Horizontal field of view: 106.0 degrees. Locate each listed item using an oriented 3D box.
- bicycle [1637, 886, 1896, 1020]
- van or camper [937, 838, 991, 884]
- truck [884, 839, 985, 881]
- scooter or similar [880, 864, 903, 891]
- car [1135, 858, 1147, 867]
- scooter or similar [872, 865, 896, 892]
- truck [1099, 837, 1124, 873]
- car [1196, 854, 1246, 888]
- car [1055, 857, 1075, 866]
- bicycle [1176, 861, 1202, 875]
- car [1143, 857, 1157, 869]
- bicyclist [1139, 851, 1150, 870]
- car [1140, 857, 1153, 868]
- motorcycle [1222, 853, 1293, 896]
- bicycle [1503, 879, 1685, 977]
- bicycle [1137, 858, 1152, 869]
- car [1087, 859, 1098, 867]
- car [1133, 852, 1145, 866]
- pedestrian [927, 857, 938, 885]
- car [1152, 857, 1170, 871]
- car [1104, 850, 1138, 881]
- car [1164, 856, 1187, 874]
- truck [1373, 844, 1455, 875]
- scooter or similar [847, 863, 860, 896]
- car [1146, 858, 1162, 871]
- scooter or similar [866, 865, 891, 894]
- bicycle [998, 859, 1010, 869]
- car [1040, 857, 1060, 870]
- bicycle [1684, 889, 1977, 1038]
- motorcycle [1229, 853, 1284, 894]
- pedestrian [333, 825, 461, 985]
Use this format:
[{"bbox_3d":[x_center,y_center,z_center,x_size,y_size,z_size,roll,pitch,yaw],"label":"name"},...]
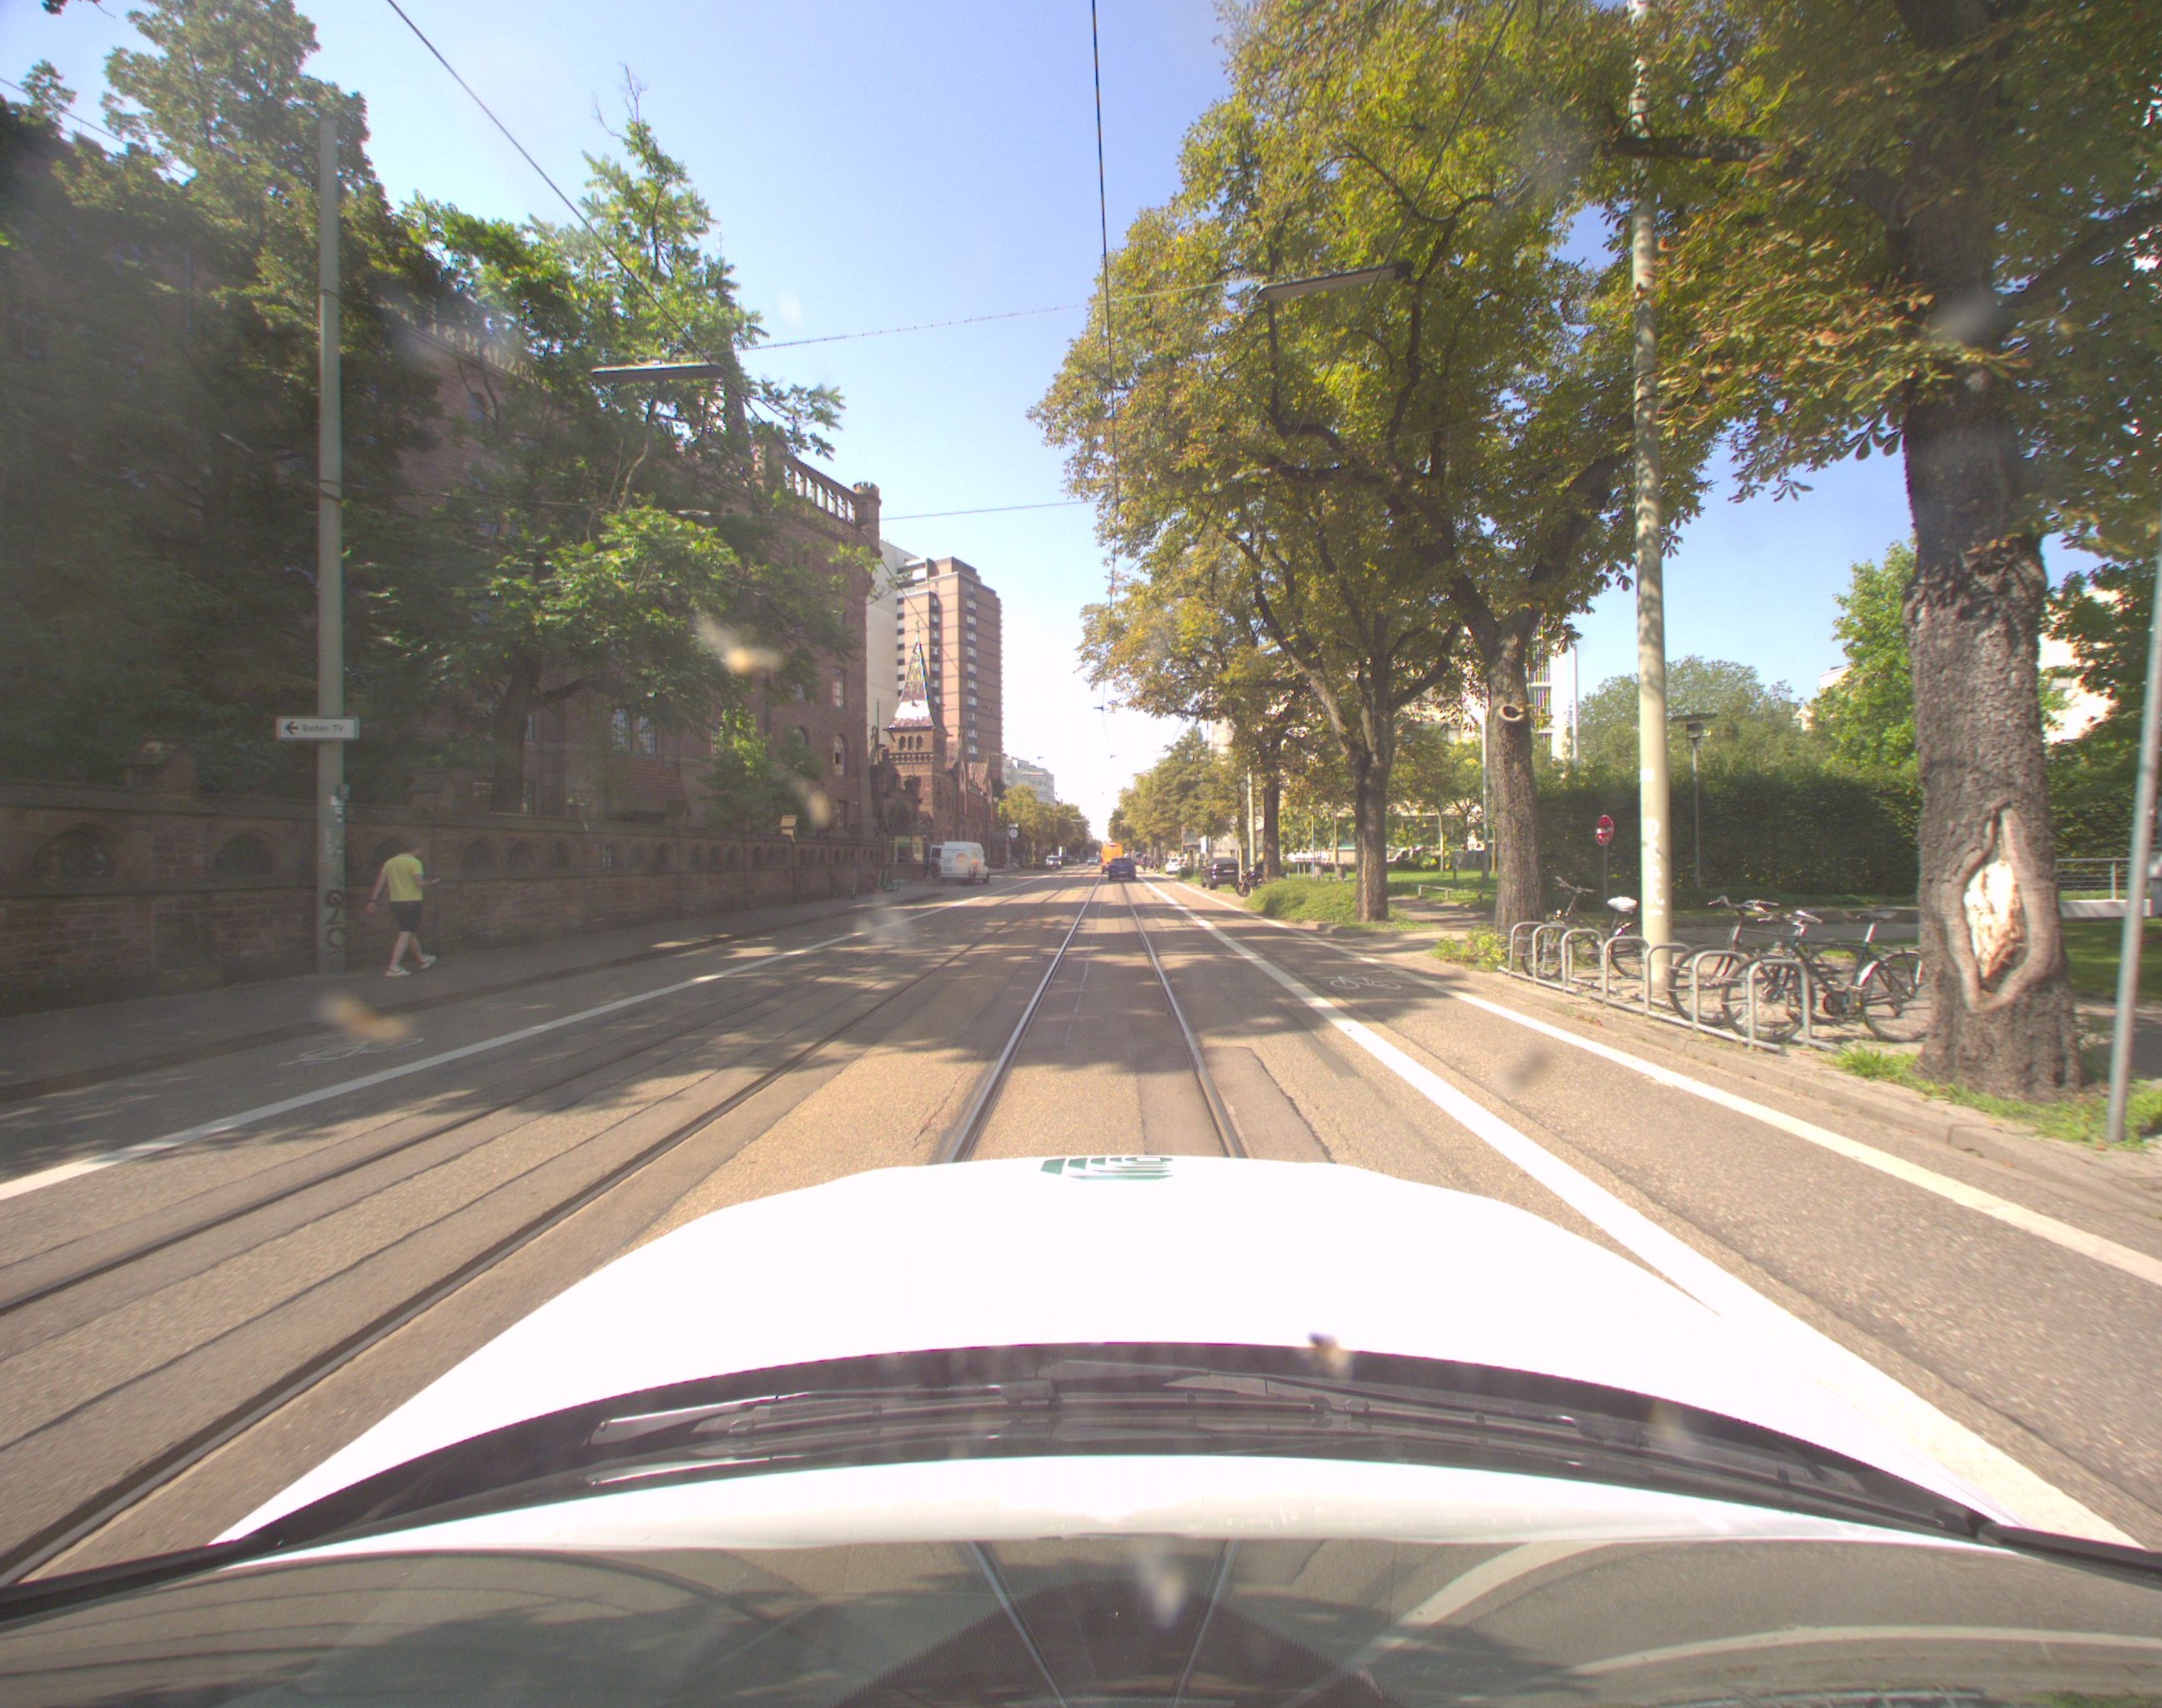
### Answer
[{"bbox_3d":[5.910,0.839,7.077,1.765,1.050,0.541,-2,0,0],"label":"bicycle"},{"bbox_3d":[-7.113,0.426,50.364,2.104,2.675,5.960,-1,0,4],"label":"van or camper"},{"bbox_3d":[-9.899,0.381,55.289,6.287,2.538,2.135,2,1,6],"label":"truck"},{"bbox_3d":[-8.576,1.069,36.826,0.336,1.178,1.185,-1,-1,27],"label":"scooter or similar"},{"bbox_3d":[10.638,1.510,145.205,1.901,1.431,4.293,0,0,1],"label":"car"},{"bbox_3d":[-8.635,1.064,35.693,0.336,1.178,1.185,-1,-1,27],"label":"scooter or similar"},{"bbox_3d":[2.751,0.109,73.725,2.127,3.124,6.088,-2,0,2],"label":"truck"},{"bbox_3d":[6.921,0.815,40.696,1.750,1.515,4.610,-2,0,1],"label":"car"},{"bbox_3d":[-3.343,1.625,174.808,4.021,2.014,1.835,0,-1,-41],"label":"car"},{"bbox_3d":[7.817,1.023,58.808,1.805,0.958,0.558,0,-1,1],"label":"bicycle"},{"bbox_3d":[9.684,1.236,114.592,1.628,1.585,4.189,0,0,1],"label":"car"},{"bbox_3d":[6.469,0.658,82.634,1.028,1.812,1.016,0,-1,2],"label":"bicyclist"},{"bbox_3d":[9.984,1.240,124.686,1.734,1.668,4.362,0,0,1],"label":"car"},{"bbox_3d":[6.488,0.733,30.033,2.423,1.516,0.858,-1,-1,40],"label":"motorcycle"},{"bbox_3d":[5.984,0.850,9.556,1.765,1.050,0.541,-2,0,0],"label":"bicycle"},{"bbox_3d":[6.437,0.945,82.669,1.396,1.134,4.002,-1,0,2],"label":"bicycle"},{"bbox_3d":[2.276,1.703,157.614,1.839,1.492,4.870,-2,0,3],"label":"car"},{"bbox_3d":[11.028,0.960,155.801,1.986,2.756,5.762,0,0,1],"label":"car"},{"bbox_3d":[-8.691,1.004,47.530,0.499,1.599,0.548,0,-1,-25],"label":"pedestrian"},{"bbox_3d":[8.802,1.084,89.948,1.652,1.408,4.219,-2,-1,3],"label":"car"},{"bbox_3d":[2.620,0.742,53.815,2.127,1.858,5.571,-2,0,2],"label":"car"},{"bbox_3d":[8.259,0.965,71.566,1.652,1.481,4.219,-2,-1,3],"label":"car"},{"bbox_3d":[26.035,0.403,63.792,5.483,2.326,2.300,-1,0,3],"label":"truck"},{"bbox_3d":[-8.424,0.946,30.210,0.421,1.178,1.310,0,0,-13],"label":"scooter or similar"},{"bbox_3d":[9.061,1.257,101.499,1.736,1.556,4.219,-2,-1,2],"label":"car"},{"bbox_3d":[-8.590,1.058,34.519,0.336,1.178,1.185,-1,-1,27],"label":"scooter or similar"},{"bbox_3d":[-9.304,1.205,98.260,1.447,1.093,0.399,3,-1,-3],"label":"bicycle"},{"bbox_3d":[-4.482,1.413,118.662,1.753,1.796,3.972,0,-1,-21],"label":"car"},{"bbox_3d":[5.841,0.836,6.400,1.765,1.050,0.541,-2,0,0],"label":"bicycle"},{"bbox_3d":[6.818,0.738,31.726,0.853,1.516,2.436,0,0,-22],"label":"motorcycle"},{"bbox_3d":[-9.045,0.649,10.814,0.861,2.014,0.983,0,-1,0],"label":"pedestrian"}]
